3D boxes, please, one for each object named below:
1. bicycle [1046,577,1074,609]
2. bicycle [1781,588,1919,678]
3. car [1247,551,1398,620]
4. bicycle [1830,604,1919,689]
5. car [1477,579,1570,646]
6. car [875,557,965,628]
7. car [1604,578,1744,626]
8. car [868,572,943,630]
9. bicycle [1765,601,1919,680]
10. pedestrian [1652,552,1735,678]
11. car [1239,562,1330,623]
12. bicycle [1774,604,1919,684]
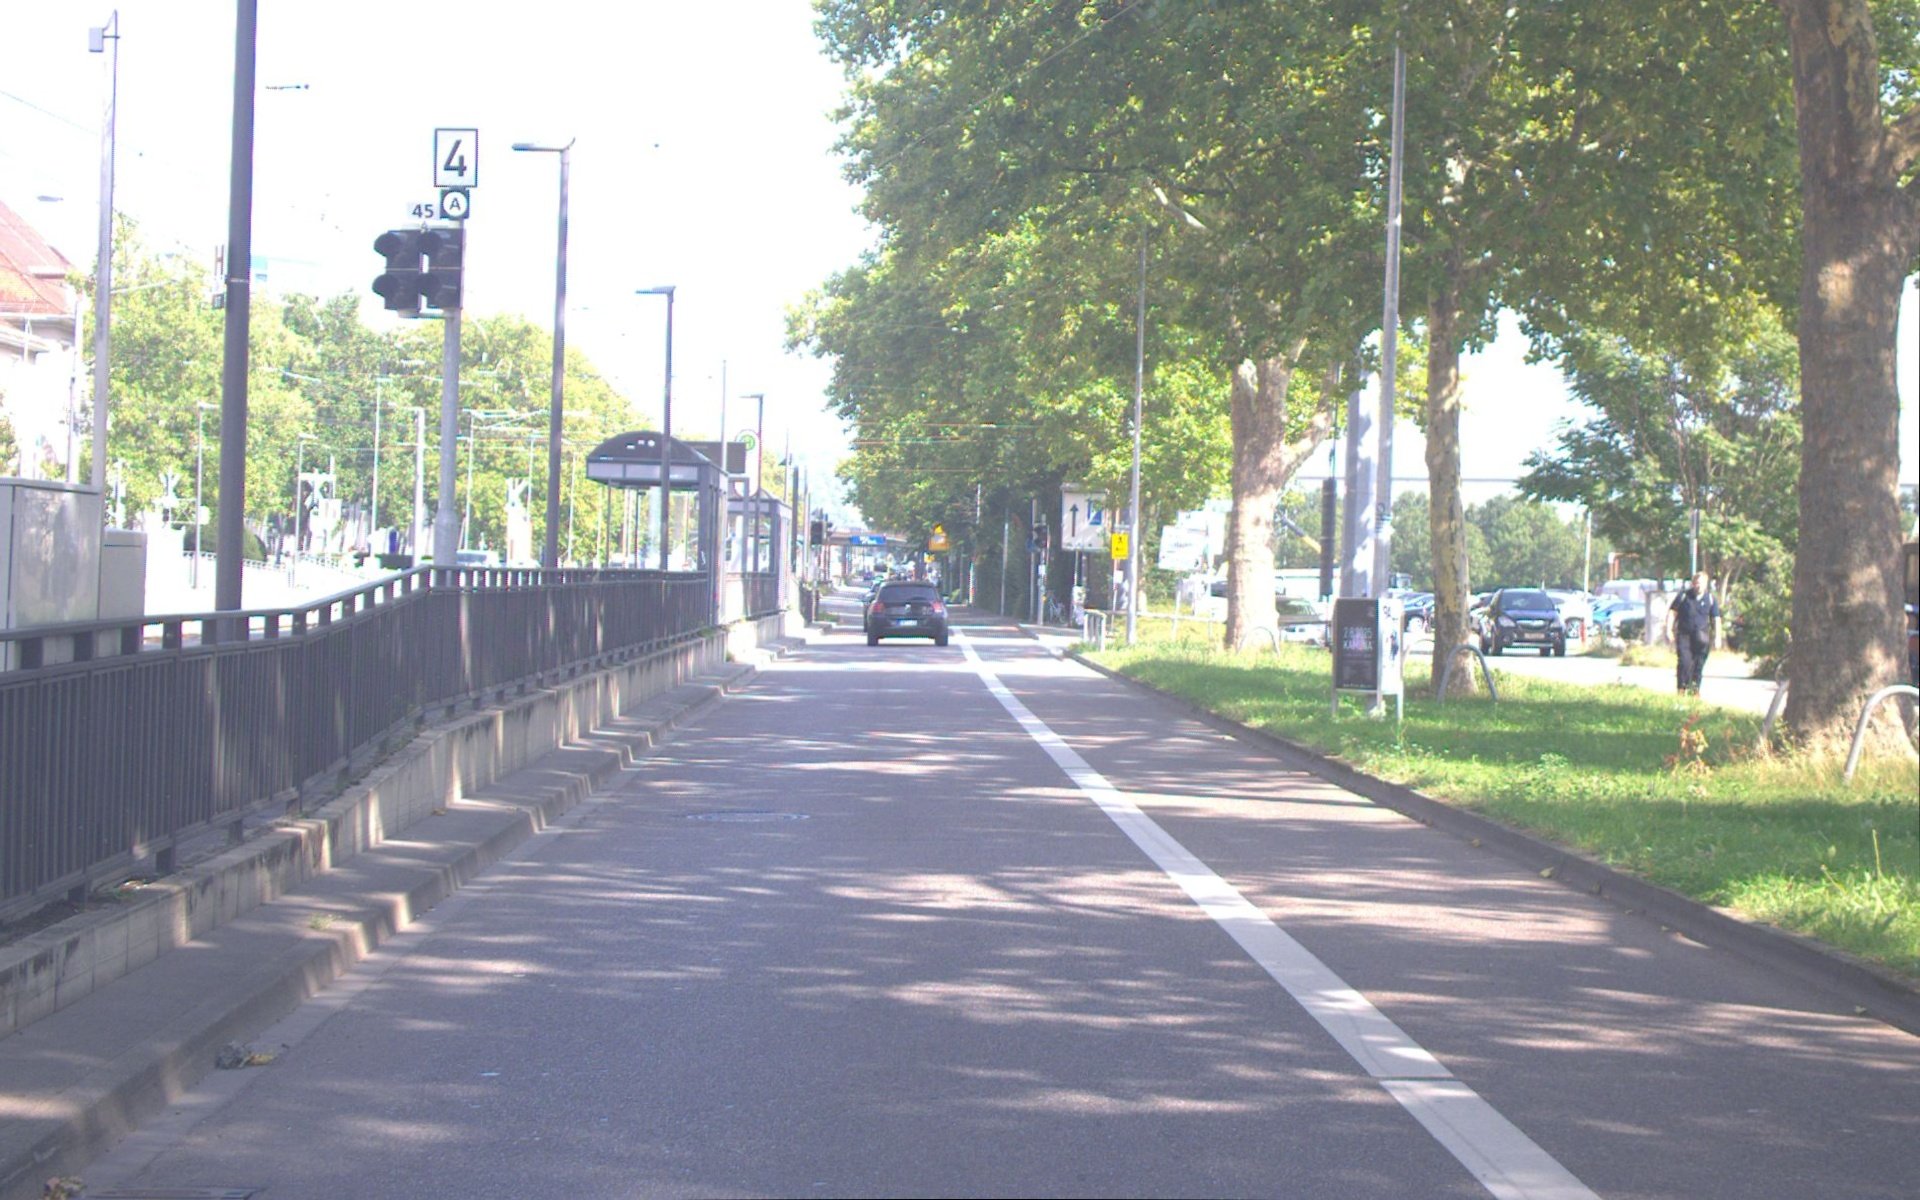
[{"bbox_3d":[3.278,-0.226,113.028,0.610,1.018,2.403,1,1,-5],"label":"bicycle"},{"bbox_3d":[13.119,0.477,49.689,2.244,1.273,0.999,0,-1,-2],"label":"bicycle"},{"bbox_3d":[10.271,-0.431,97.626,4.103,1.912,1.847,0,1,2],"label":"car"},{"bbox_3d":[12.626,0.624,45.157,2.173,1.073,0.743,2,0,-3],"label":"bicycle"},{"bbox_3d":[13.992,0.294,85.528,1.607,1.570,3.796,1,1,-1],"label":"car"},{"bbox_3d":[-0.907,-0.178,76.363,1.907,1.532,4.000,0,1,-2],"label":"car"},{"bbox_3d":[24.763,0.065,119.378,4.343,1.459,1.947,2,0,-3],"label":"car"},{"bbox_3d":[-1.532,0.018,95.824,1.973,1.532,4.000,-2,1,-2],"label":"car"},{"bbox_3d":[12.458,0.557,48.182,2.173,1.073,0.743,-1,0,3],"label":"bicycle"},{"bbox_3d":[8.975,0.172,42.086,0.783,1.510,0.787,1,1,-1],"label":"pedestrian"},{"bbox_3d":[7.921,-0.203,84.242,1.728,1.444,4.551,1,1,-1],"label":"car"},{"bbox_3d":[12.383,0.602,47.365,2.173,1.073,0.743,0,0,3],"label":"bicycle"}]
